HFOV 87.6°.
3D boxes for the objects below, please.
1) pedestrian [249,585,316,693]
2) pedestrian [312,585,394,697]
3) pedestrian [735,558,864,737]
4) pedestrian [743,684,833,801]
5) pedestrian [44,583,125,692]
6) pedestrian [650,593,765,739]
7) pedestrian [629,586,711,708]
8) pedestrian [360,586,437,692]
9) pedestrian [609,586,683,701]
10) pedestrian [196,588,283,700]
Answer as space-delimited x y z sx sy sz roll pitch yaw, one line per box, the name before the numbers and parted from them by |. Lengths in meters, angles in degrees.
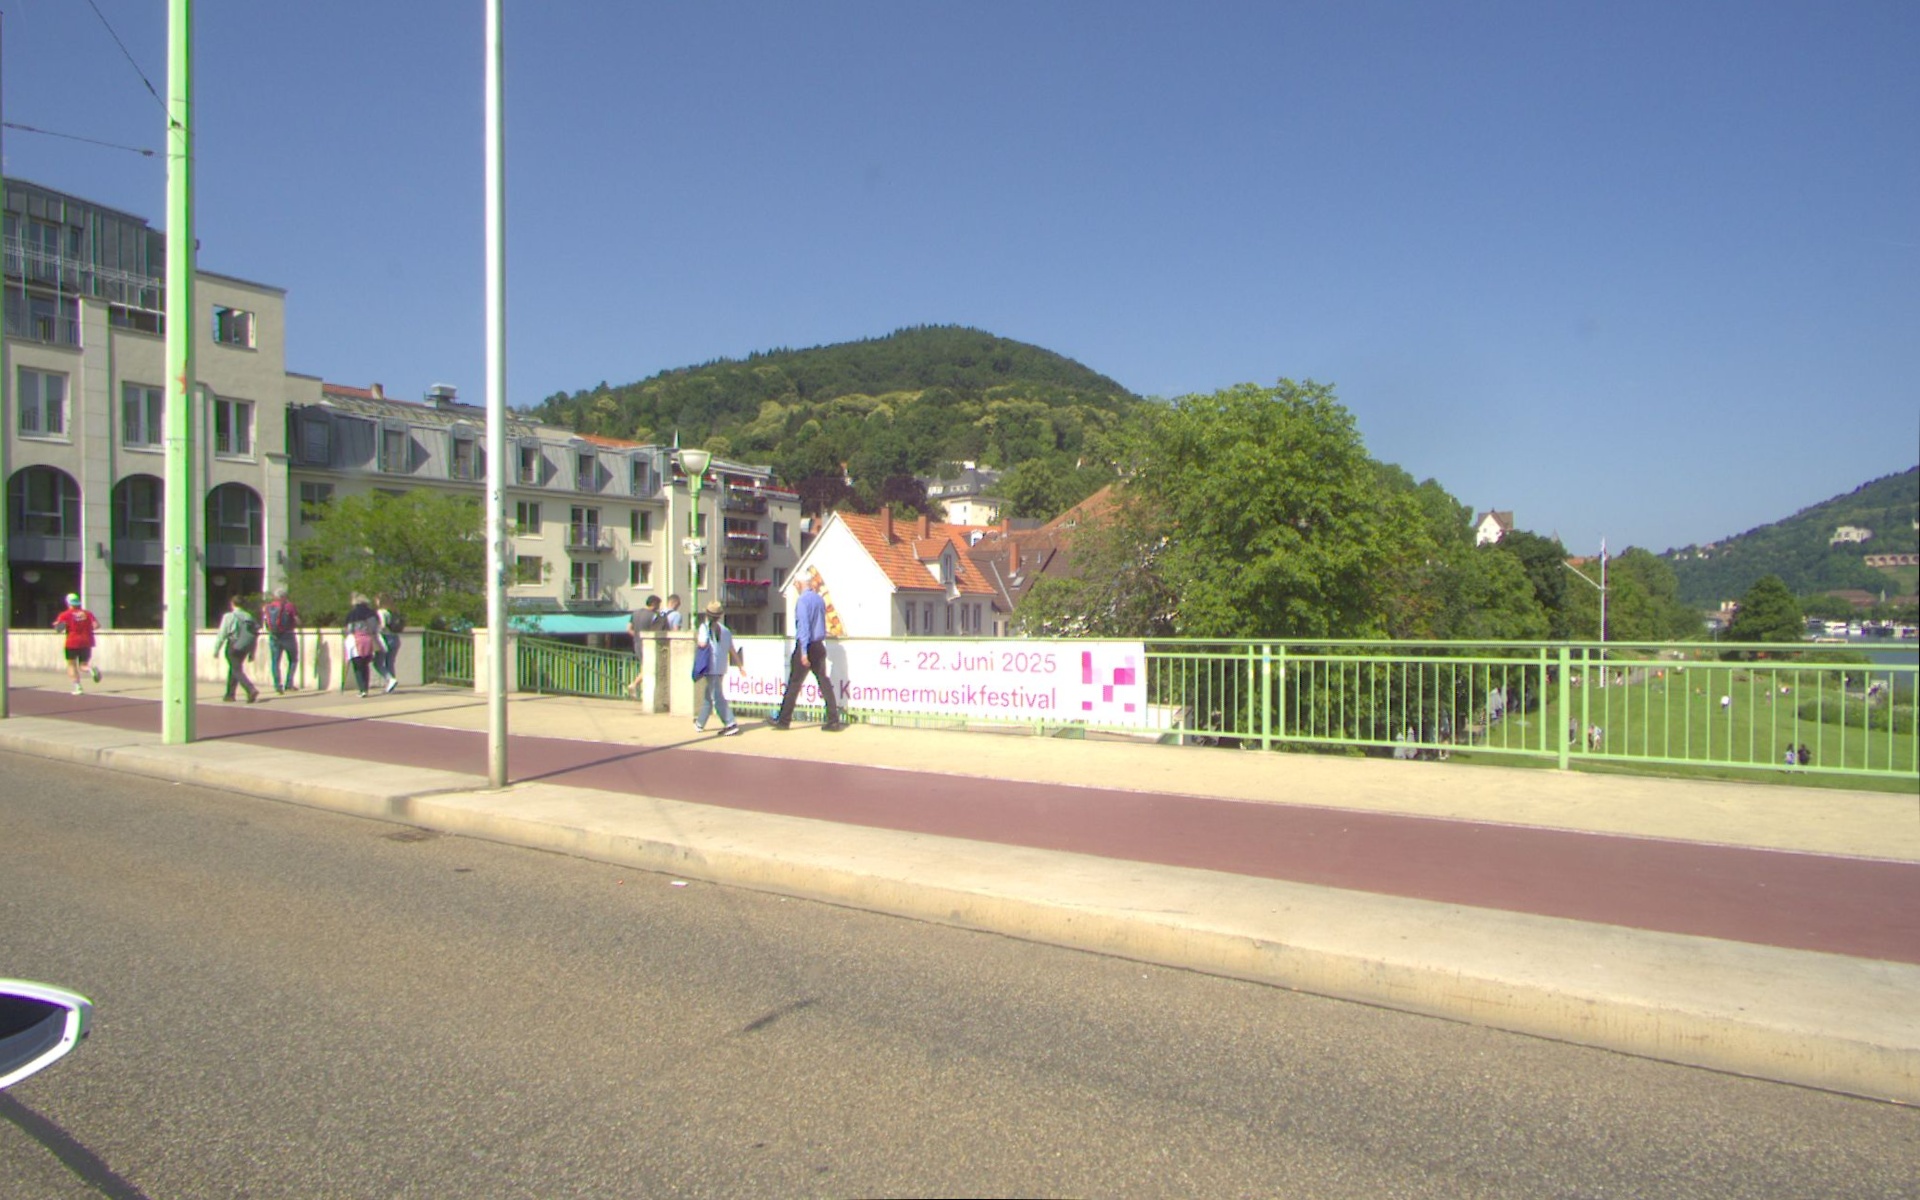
pedestrian | -11.832 0.659 17.519 0.729 1.826 1.012 -1 1 -22
pedestrian | -10.045 0.658 16.581 1.001 1.801 0.738 0 1 30
pedestrian | -1.830 0.519 11.456 1.121 1.923 0.924 0 1 32
pedestrian | -2.962 2.412 17.299 0.965 1.801 1.202 0 1 29
pedestrian | -16.226 0.674 18.564 1.111 1.950 0.809 0 1 32
pedestrian | -2.839 0.709 11.273 0.919 1.550 0.827 0 1 32
pedestrian | -4.282 0.678 14.830 0.728 1.741 1.014 0 0 17
pedestrian | -9.693 0.649 17.288 1.001 1.770 0.737 0 1 33
pedestrian | -4.876 0.654 15.624 0.727 1.741 1.015 -1 1 5
pedestrian | -11.612 0.686 16.142 1.058 1.741 0.753 0 1 32
